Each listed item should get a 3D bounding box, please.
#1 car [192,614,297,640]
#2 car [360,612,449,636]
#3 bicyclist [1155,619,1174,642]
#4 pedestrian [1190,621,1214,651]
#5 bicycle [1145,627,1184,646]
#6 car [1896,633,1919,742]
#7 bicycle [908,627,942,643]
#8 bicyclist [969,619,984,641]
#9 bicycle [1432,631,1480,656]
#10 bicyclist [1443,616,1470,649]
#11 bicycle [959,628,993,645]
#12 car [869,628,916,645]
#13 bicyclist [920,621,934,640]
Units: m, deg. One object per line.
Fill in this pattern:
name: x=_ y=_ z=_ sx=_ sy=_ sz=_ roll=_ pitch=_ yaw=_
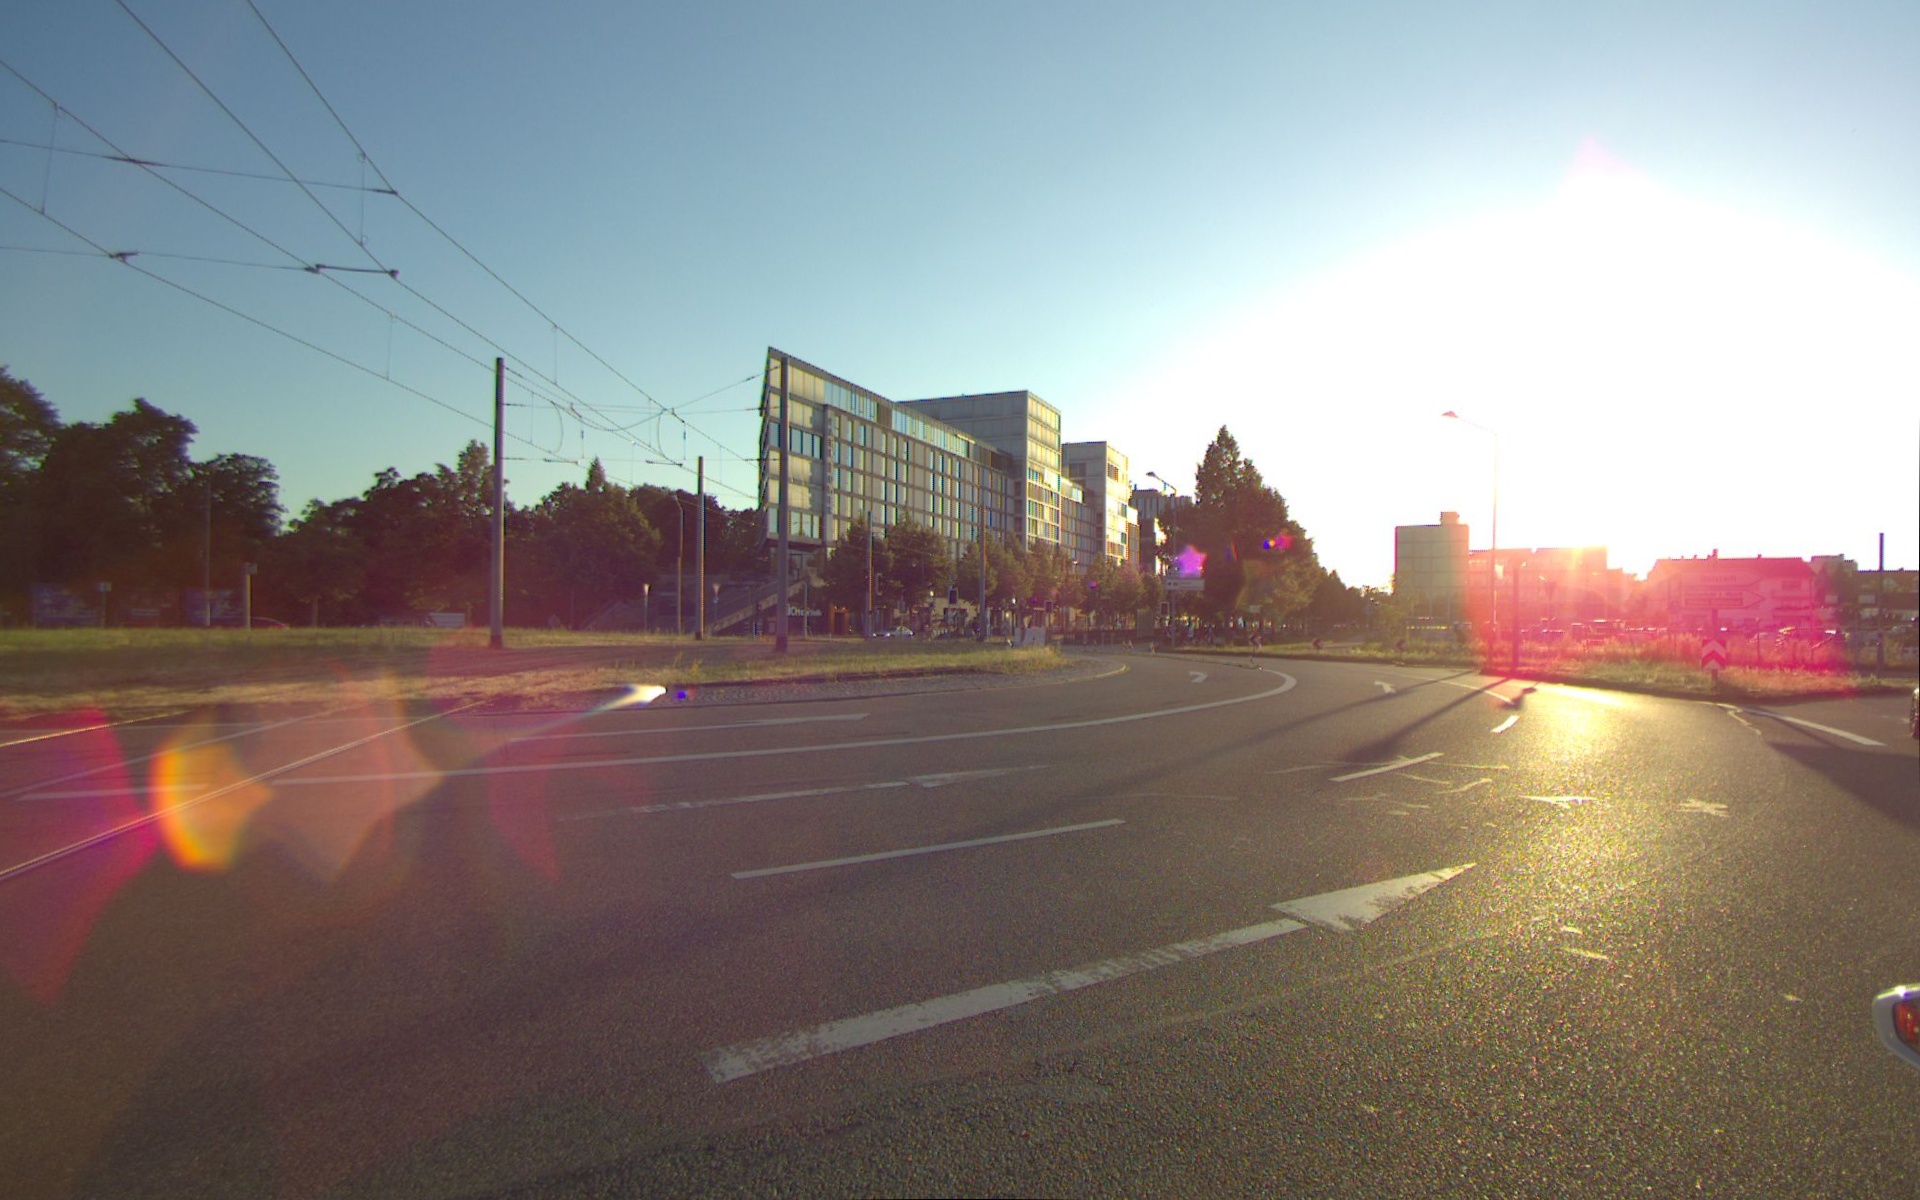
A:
car: x=-41.700 y=1.567 z=58.641 sx=4.515 sy=1.451 sz=1.940 roll=0 pitch=-1 yaw=-13
car: x=-33.180 y=1.438 z=60.089 sx=4.244 sy=1.451 sz=1.941 roll=0 pitch=-1 yaw=-11
bicyclist: x=13.260 y=1.980 z=65.139 sx=0.964 sy=1.412 sz=0.751 roll=0 pitch=-1 yaw=41
pedestrian: x=15.247 y=2.283 z=63.269 sx=0.973 sy=1.851 sz=1.146 roll=2 pitch=-1 yaw=-44
bicycle: x=13.258 y=2.335 z=65.157 sx=2.374 sy=1.182 sz=0.751 roll=0 pitch=-1 yaw=41
car: x=13.378 y=1.194 z=12.494 sx=1.925 sy=1.446 sz=4.415 roll=3 pitch=0 yaw=36
bicycle: x=-2.607 y=2.599 z=74.943 sx=2.361 sy=1.182 sz=0.755 roll=1 pitch=-1 yaw=15
bicyclist: x=1.186 y=2.199 z=73.724 sx=0.959 sy=1.545 sz=0.755 roll=1 pitch=-1 yaw=11
bicycle: x=24.519 y=2.131 z=49.678 sx=0.742 sy=1.182 sz=2.402 roll=1 pitch=-1 yaw=-15
bicyclist: x=24.521 y=1.606 z=49.661 sx=0.742 sy=1.634 sz=0.975 roll=1 pitch=-1 yaw=-15
bicycle: x=1.162 y=2.671 z=73.752 sx=2.360 sy=1.182 sz=0.755 roll=1 pitch=-1 yaw=12
car: x=-6.200 y=3.377 z=93.120 sx=1.963 sy=1.565 sz=5.197 roll=0 pitch=-1 yaw=26
bicyclist: x=-2.442 y=2.268 z=74.921 sx=0.861 sy=1.411 sz=0.755 roll=1 pitch=-1 yaw=14
